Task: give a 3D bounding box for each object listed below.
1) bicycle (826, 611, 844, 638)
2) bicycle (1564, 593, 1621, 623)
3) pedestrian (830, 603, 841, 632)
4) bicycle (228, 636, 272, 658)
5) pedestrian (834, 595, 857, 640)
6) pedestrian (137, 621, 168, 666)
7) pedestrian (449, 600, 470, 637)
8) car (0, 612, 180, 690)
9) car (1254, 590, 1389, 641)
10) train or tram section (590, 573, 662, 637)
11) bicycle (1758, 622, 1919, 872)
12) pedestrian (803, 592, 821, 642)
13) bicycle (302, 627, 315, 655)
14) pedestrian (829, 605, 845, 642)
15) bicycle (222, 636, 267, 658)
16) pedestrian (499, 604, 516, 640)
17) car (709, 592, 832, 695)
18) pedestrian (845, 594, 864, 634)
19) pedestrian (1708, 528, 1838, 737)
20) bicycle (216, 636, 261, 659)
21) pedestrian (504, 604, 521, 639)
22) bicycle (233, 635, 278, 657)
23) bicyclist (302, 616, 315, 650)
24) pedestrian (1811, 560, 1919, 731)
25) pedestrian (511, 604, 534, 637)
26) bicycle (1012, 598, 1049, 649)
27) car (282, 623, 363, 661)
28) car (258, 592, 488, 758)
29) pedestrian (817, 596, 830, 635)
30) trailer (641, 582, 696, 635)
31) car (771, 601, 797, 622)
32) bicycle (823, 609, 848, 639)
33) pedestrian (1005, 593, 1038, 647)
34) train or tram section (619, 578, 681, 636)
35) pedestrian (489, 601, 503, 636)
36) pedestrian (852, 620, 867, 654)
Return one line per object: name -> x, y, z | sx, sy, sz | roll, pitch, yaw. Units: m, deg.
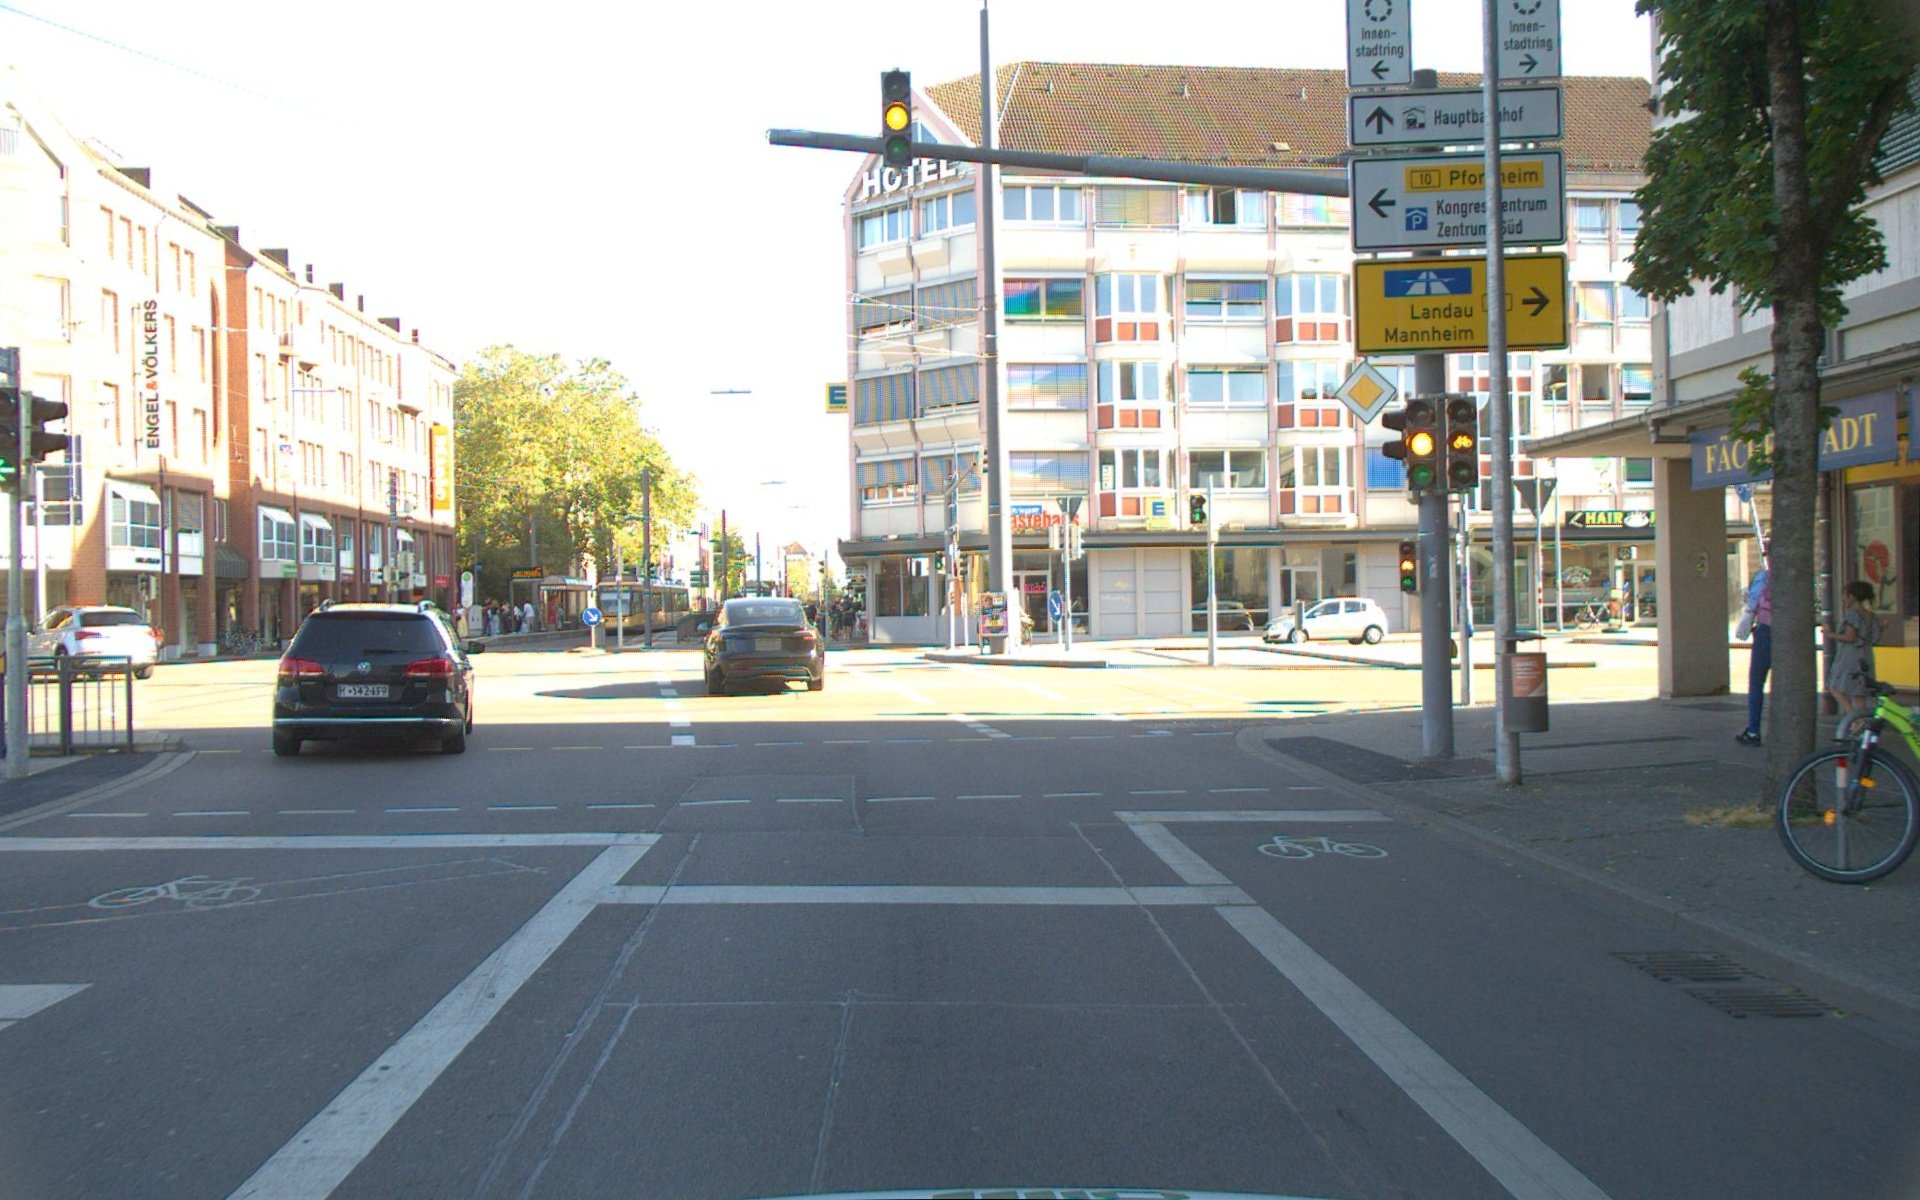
bicycle -> -5.169, 1.015, 68.432 | 0.479, 1.121, 2.118 | -1, -1, -11
bicycle -> 23.000, 0.283, 60.121 | 1.931, 1.068, 0.535 | -1, -1, -9
pedestrian -> -8.176, 1.149, 108.308 | 0.682, 1.930, 0.749 | -1, -1, -3
bicycle -> -30.679, 2.019, 71.479 | 1.677, 0.916, 0.520 | -1, -1, -5
pedestrian -> -4.594, 0.691, 66.409 | 0.896, 1.785, 0.839 | -1, -1, -1
pedestrian -> -29.968, 1.609, 61.406 | 0.698, 1.622, 0.776 | 3, -1, -3
pedestrian -> -21.993, 0.812, 72.691 | 0.622, 1.591, 0.585 | -1, -1, 19
car -> -19.498, 1.124, 36.855 | 3.400, 1.663, 1.847 | -1, -1, 10
car -> 11.419, 0.506, 52.393 | 3.767, 1.457, 1.801 | -1, -3, -6
train or tram section -> -19.692, 0.363, 98.107 | 2.674, 3.604, 10.080 | -1, -1, -3
bicycle -> 5.084, 0.693, 8.318 | 1.851, 1.177, 0.480 | -3, -1, 0
pedestrian -> -5.412, 0.626, 60.470 | 0.614, 1.814, 0.916 | -1, -1, -6
bicycle -> -28.750, 1.805, 72.993 | 0.484, 1.178, 1.669 | 0, -1, -24
pedestrian -> -5.733, 1.091, 77.195 | 0.682, 1.707, 0.749 | -1, -1, -3
bicycle -> -30.590, 2.006, 70.747 | 1.677, 0.916, 0.520 | -1, -1, -5
pedestrian -> -22.382, 1.070, 81.762 | 0.622, 1.751, 0.586 | -1, -1, 5
car -> -3.131, 0.636, 26.713 | 1.758, 1.476, 3.931 | -2, 1, -9
pedestrian -> -4.521, 0.611, 71.049 | 0.675, 1.718, 0.668 | 0, -1, -17
pedestrian -> 7.064, 0.282, 14.416 | 0.825, 1.751, 0.880 | -1, -1, 14
bicycle -> -30.540, 2.001, 70.031 | 1.677, 0.916, 0.520 | -1, -1, -5
pedestrian -> -22.309, 1.062, 82.386 | 0.622, 1.751, 0.609 | -1, -1, 5
bicycle -> -30.736, 2.020, 72.165 | 1.725, 0.916, 0.585 | -1, -1, -5
bicyclist -> -28.768, 1.449, 73.032 | 0.476, 1.496, 0.713 | 0, -1, -25
pedestrian -> 7.895, 0.391, 14.392 | 0.631, 1.447, 0.621 | -1, -1, 0
pedestrian -> -22.329, 1.047, 84.374 | 1.085, 1.653, 0.845 | -1, -1, -12
bicycle -> 2.137, 0.712, 50.234 | 0.573, 1.489, 1.678 | -1, -1, -16
car -> -26.800, 1.744, 69.673 | 1.780, 1.479, 3.977 | -3, -1, 1
car -> -5.870, 0.686, 17.008 | 1.734, 1.469, 4.512 | 1, -1, -14
pedestrian -> -5.680, 0.645, 68.710 | 0.463, 1.590, 0.543 | 0, -1, -12
trailer -> -20.710, 0.671, 117.926 | 2.659, 3.608, 9.351 | -1, -1, -3
car -> -14.606, 0.980, 137.526 | 1.701, 1.694, 3.708 | -1, -1, 0
bicycle -> -4.978, 0.967, 66.047 | 0.481, 1.181, 1.961 | 0, -1, -20
pedestrian -> 1.852, 0.597, 50.100 | 0.766, 1.604, 0.864 | 0, 0, -16
train or tram section -> -20.192, 0.502, 108.205 | 2.659, 3.608, 10.161 | -1, -1, -3
pedestrian -> -20.958, 0.845, 74.647 | 0.574, 1.558, 0.634 | 0, -1, -18
pedestrian -> -5.173, 1.903, 85.282 | 0.732, 1.707, 0.698 | -1, -1, -2
